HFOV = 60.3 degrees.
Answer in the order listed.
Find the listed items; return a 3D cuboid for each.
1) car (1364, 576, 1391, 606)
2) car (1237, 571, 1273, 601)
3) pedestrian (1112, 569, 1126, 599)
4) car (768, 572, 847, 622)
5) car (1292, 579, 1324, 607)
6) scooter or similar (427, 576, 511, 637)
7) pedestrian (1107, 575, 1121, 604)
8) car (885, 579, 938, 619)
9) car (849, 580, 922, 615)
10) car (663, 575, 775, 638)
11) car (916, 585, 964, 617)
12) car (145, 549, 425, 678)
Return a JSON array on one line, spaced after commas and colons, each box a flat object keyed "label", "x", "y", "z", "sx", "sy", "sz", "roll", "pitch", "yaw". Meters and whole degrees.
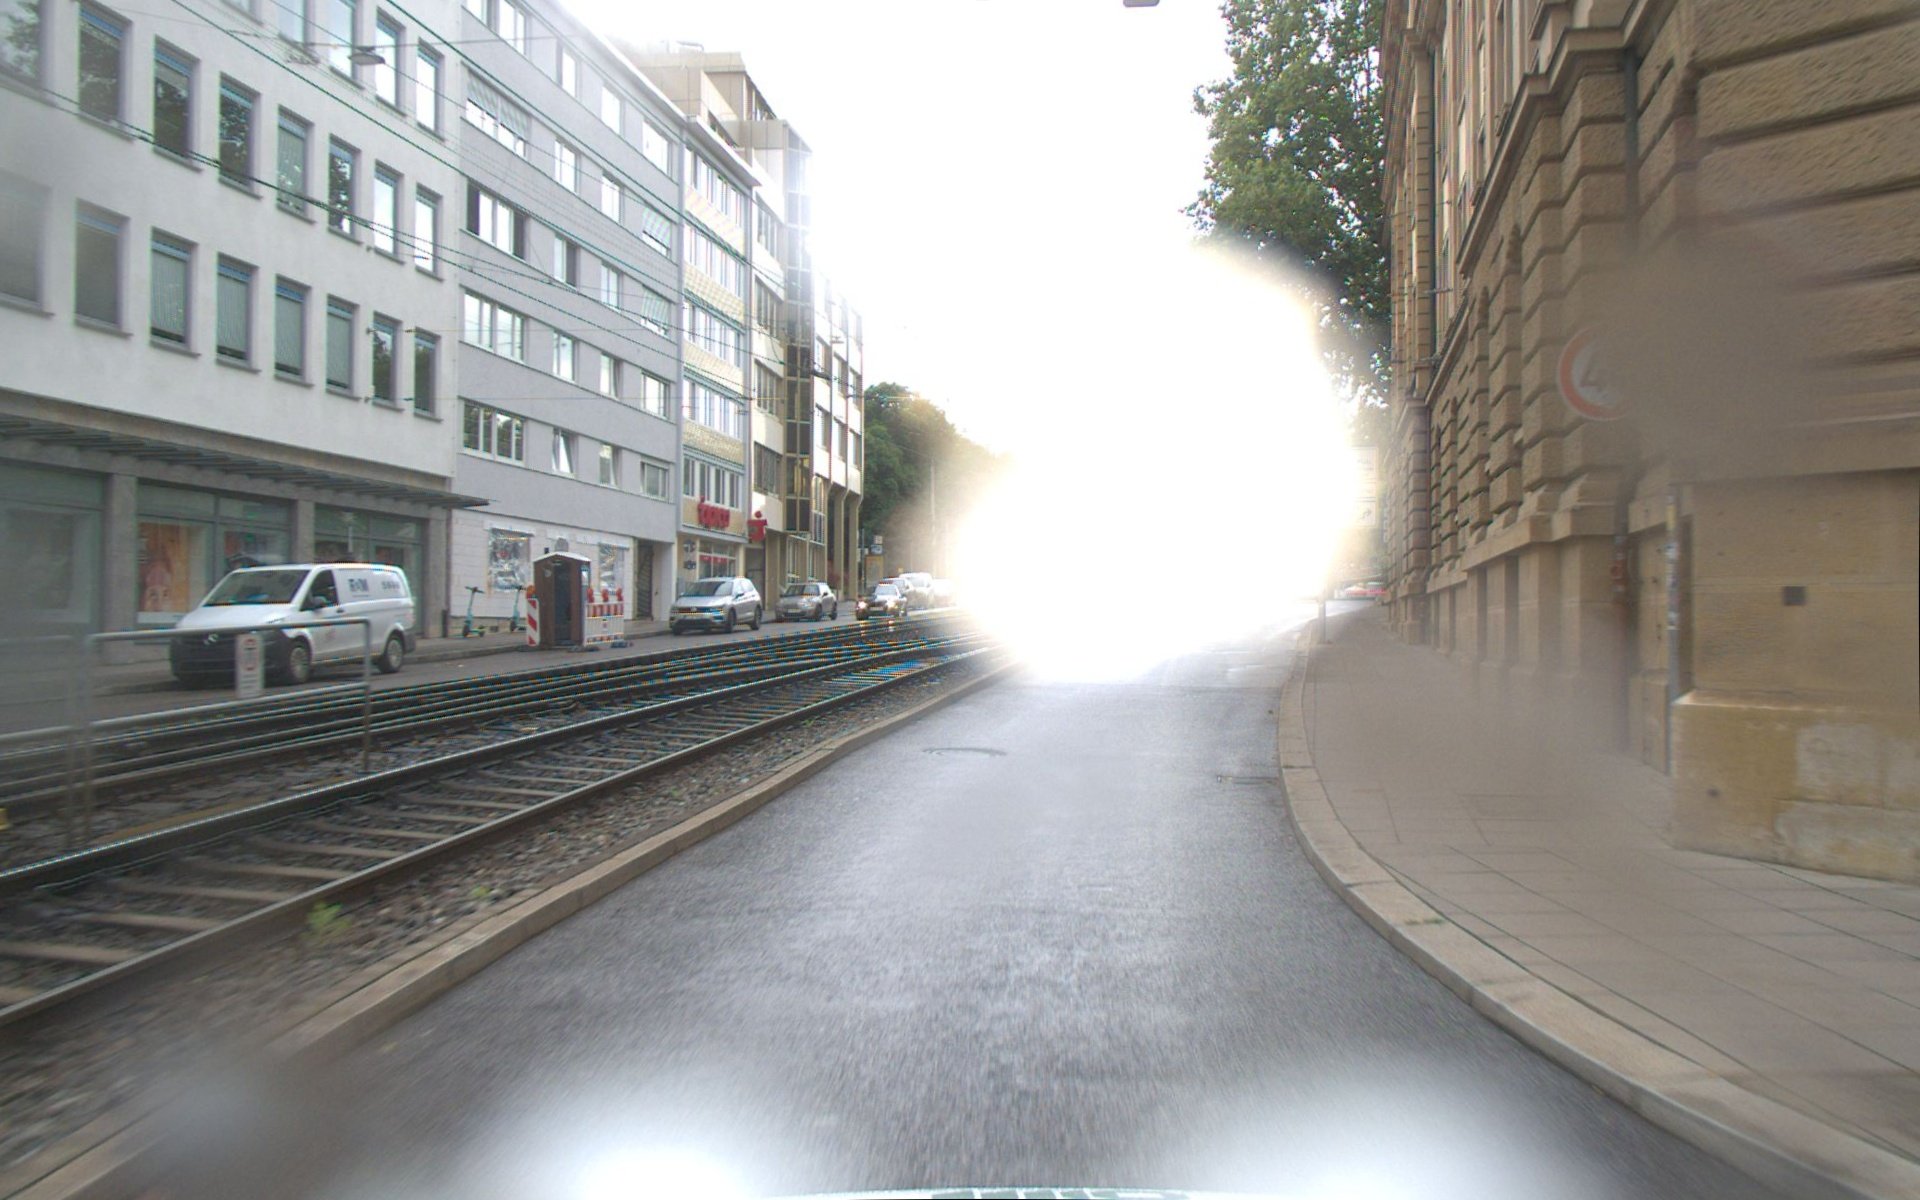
[{"label": "car", "x": 46.431, "y": -1.021, "z": 183.972, "sx": 2.490, "sy": 3.188, "sz": 5.035, "roll": 2, "pitch": 0, "yaw": 10}, {"label": "car", "x": 18.034, "y": -0.860, "z": 101.056, "sx": 1.938, "sy": 1.668, "sz": 4.420, "roll": 2, "pitch": 0, "yaw": 12}, {"label": "pedestrian", "x": 9.868, "y": -0.989, "z": 102.764, "sx": 0.627, "sy": 1.819, "sz": 0.809, "roll": 2, "pitch": -1, "yaw": -9}, {"label": "car", "x": -5.633, "y": -0.083, "z": 61.710, "sx": 1.951, "sy": 1.703, "sz": 4.698, "roll": 2, "pitch": 0, "yaw": 7}, {"label": "car", "x": 20.421, "y": -0.443, "z": 96.959, "sx": 1.643, "sy": 1.604, "sz": 4.256, "roll": 0, "pitch": 0, "yaw": 14}, {"label": "scooter or similar", "x": -11.998, "y": 0.167, "z": 40.540, "sx": 0.681, "sy": 1.398, "sz": 3.091, "roll": 2, "pitch": 0, "yaw": 9}, {"label": "pedestrian", "x": 9.646, "y": -0.646, "z": 103.634, "sx": 0.628, "sy": 1.819, "sz": 0.808, "roll": 2, "pitch": -1, "yaw": -13}, {"label": "car", "x": -2.405, "y": -0.021, "z": 83.735, "sx": 1.951, "sy": 1.882, "sz": 4.698, "roll": 2, "pitch": 0, "yaw": 7}, {"label": "car", "x": -2.759, "y": -0.071, "z": 62.324, "sx": 1.951, "sy": 1.277, "sz": 4.698, "roll": 0, "pitch": -1, "yaw": 7}, {"label": "car", "x": -7.188, "y": 0.142, "z": 49.833, "sx": 1.951, "sy": 1.703, "sz": 4.700, "roll": 2, "pitch": 2, "yaw": 9}, {"label": "car", "x": -1.072, "y": 0.056, "z": 89.841, "sx": 1.951, "sy": 1.609, "sz": 4.552, "roll": 2, "pitch": 0, "yaw": 7}, {"label": "car", "x": -10.872, "y": 0.220, "z": 27.157, "sx": 1.951, "sy": 1.875, "sz": 5.135, "roll": 1, "pitch": 0, "yaw": 7}]
